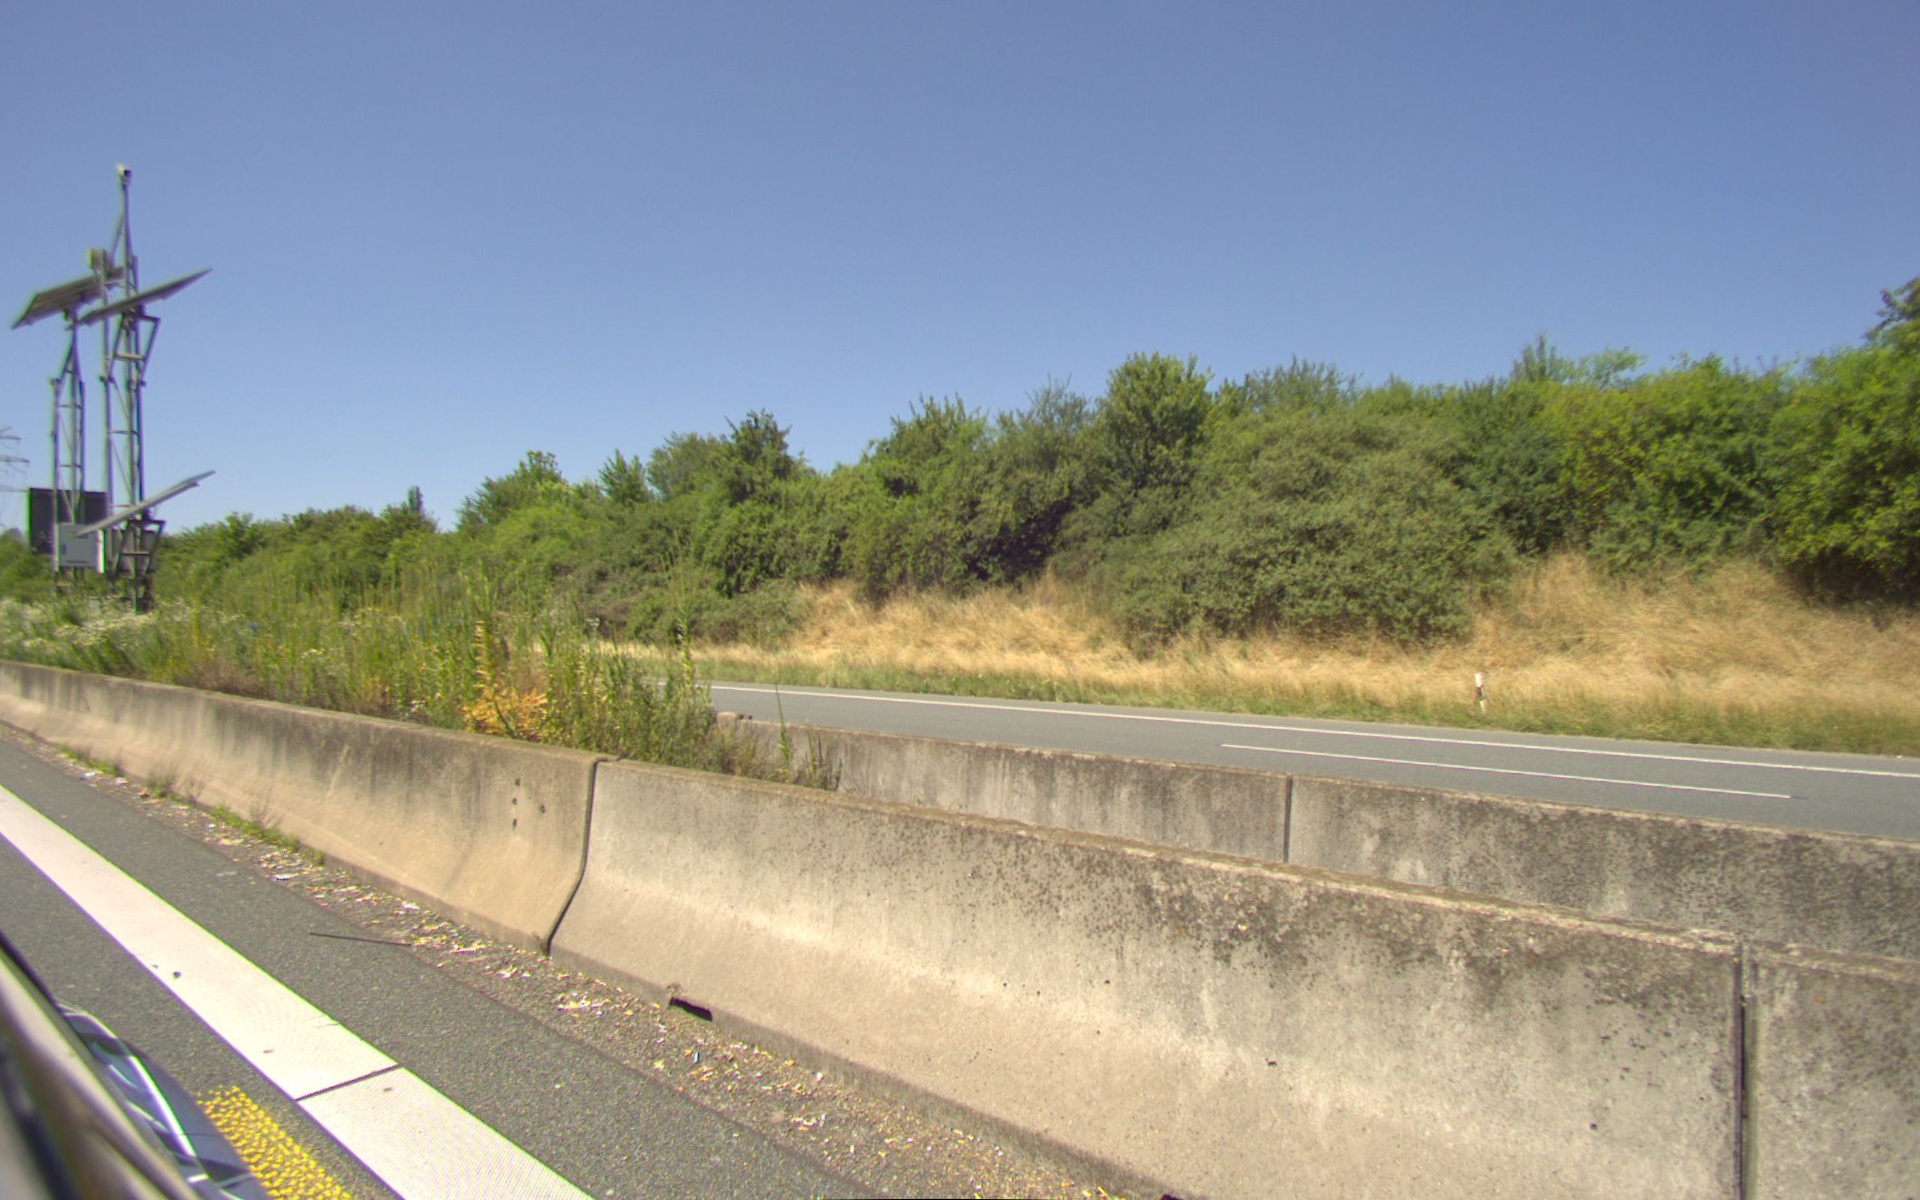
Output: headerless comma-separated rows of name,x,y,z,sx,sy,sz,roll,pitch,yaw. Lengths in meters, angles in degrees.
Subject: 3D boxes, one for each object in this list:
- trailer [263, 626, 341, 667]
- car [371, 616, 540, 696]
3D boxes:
trailer,-26.612,1.864,40.877,3.776,1.564,1.553,-1,-4,40
car,-11.801,1.267,23.590,4.149,1.697,1.973,-1,-4,39
